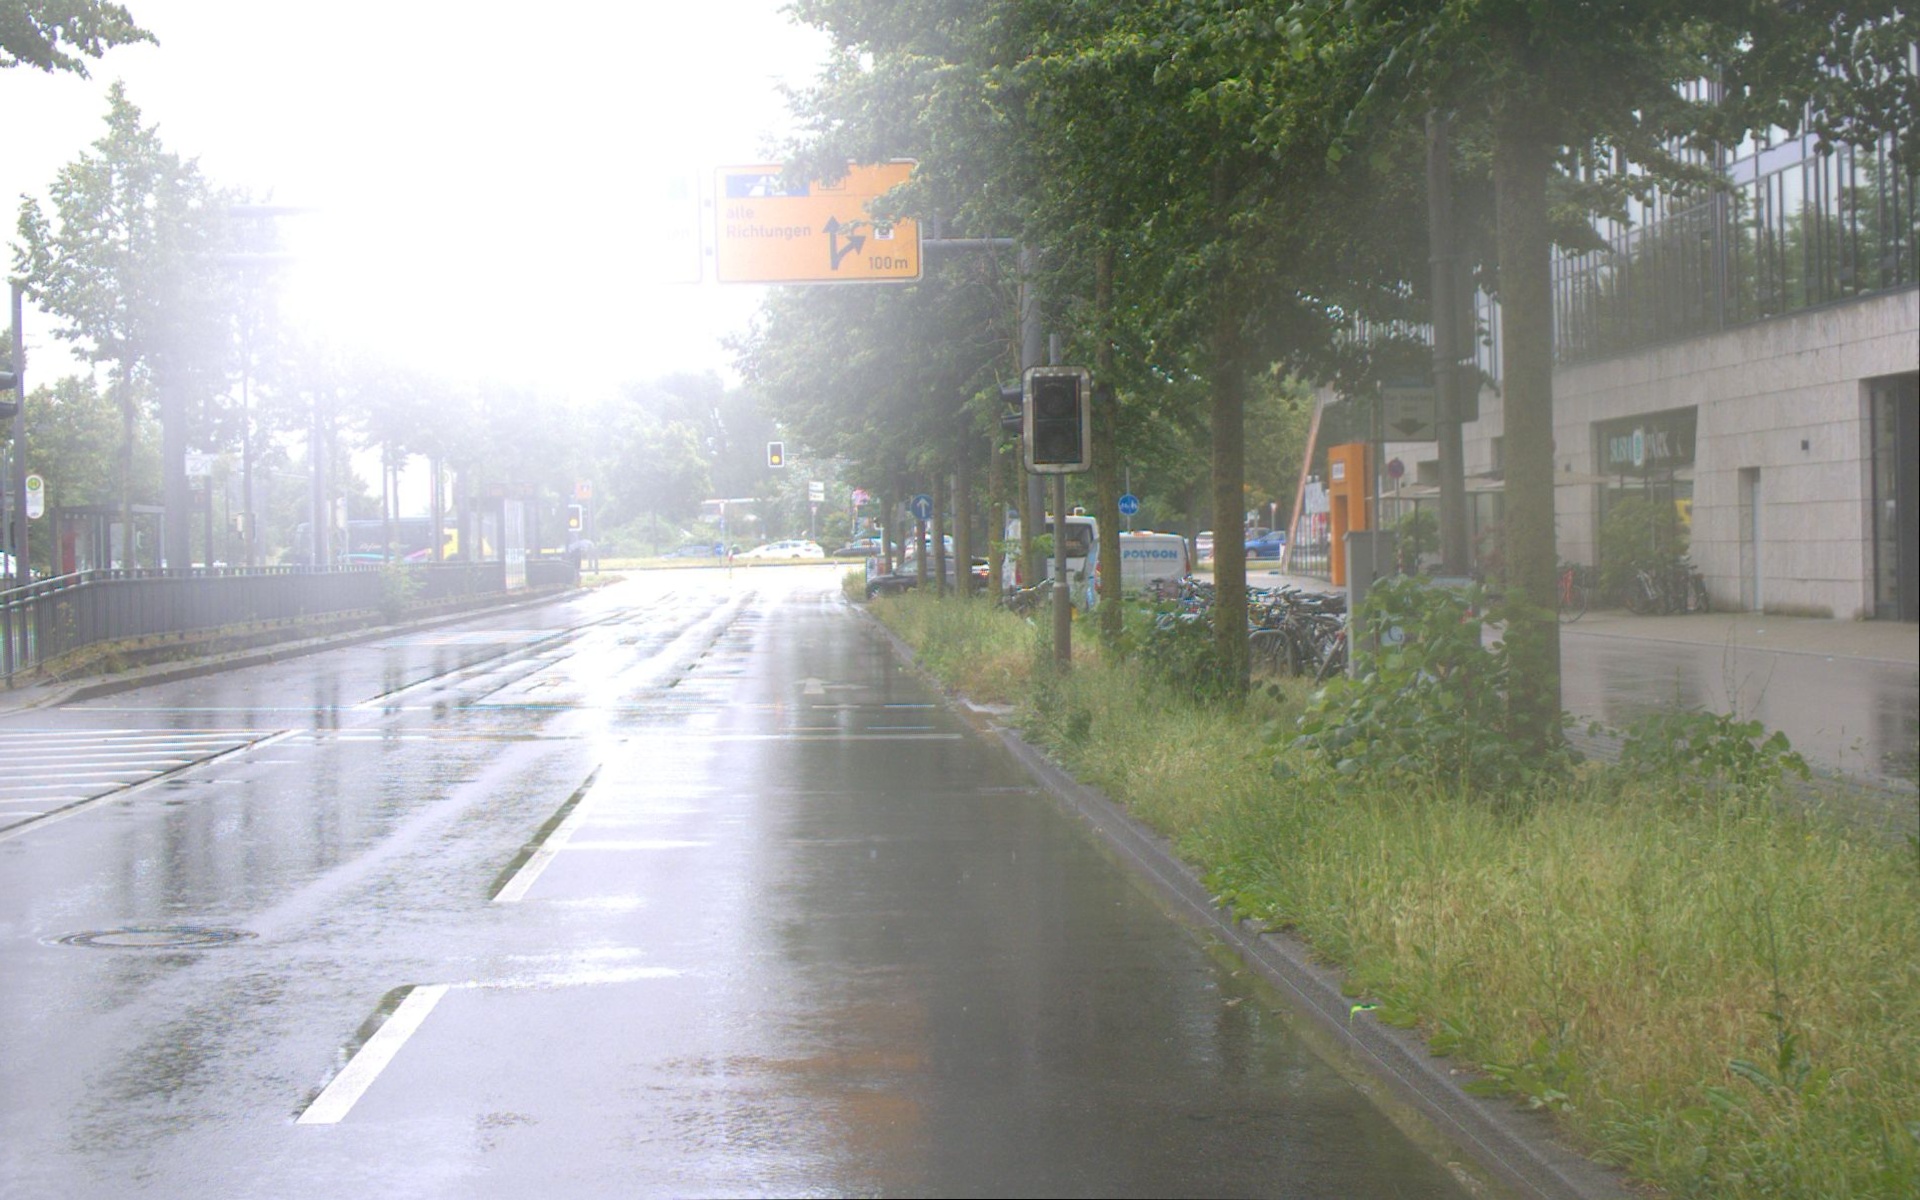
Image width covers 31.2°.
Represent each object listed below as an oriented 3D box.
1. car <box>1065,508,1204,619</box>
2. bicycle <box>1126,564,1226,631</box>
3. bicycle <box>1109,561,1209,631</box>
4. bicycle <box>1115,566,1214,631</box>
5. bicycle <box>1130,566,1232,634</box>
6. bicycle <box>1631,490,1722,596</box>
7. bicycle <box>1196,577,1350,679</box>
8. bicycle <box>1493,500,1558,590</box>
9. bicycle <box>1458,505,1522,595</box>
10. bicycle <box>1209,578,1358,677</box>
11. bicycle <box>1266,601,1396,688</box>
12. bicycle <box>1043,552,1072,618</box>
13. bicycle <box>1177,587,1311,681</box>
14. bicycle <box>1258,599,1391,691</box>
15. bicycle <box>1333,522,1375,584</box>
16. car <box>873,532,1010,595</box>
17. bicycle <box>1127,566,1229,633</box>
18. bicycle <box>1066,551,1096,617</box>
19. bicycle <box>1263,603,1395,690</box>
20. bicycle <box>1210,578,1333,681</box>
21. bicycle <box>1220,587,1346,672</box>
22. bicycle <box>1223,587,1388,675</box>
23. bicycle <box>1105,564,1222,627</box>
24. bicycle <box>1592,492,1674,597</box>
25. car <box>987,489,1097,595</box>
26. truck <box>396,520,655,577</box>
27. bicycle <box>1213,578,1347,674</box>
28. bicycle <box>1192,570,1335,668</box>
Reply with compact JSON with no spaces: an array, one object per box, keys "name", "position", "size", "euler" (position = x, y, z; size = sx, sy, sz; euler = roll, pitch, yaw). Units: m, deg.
[{"name":"car","position":[2.983,-0.656,59.615],"size":[1.906,1.785,4.689],"euler":[-2,1,-3]},{"name":"bicycle","position":[2.870,-0.038,45.726],"size":[1.288,0.846,0.275],"euler":[-2,1,-3]},{"name":"bicycle","position":[2.721,-0.051,47.073],"size":[1.325,0.907,0.275],"euler":[-2,1,-3]},{"name":"bicycle","position":[2.763,-0.022,46.400],"size":[1.288,0.846,0.275],"euler":[-1,1,-3]},{"name":"bicycle","position":[2.894,-0.001,45.027],"size":[1.288,0.846,0.275],"euler":[-1,1,-3]},{"name":"bicycle","position":[12.662,-1.030,60.836],"size":[0.772,1.716,3.121],"euler":[-2,3,-3]},{"name":"bicycle","position":[3.586,0.319,39.326],"size":[1.705,1.099,0.283],"euler":[-2,1,-9]},{"name":"bicycle","position":[11.689,-1.165,71.108],"size":[0.644,1.716,3.121],"euler":[-2,3,-3]},{"name":"bicycle","position":[10.943,-1.051,71.063],"size":[0.644,1.716,3.121],"euler":[-2,3,-3]},{"name":"bicycle","position":[3.516,0.294,37.375],"size":[1.574,1.014,0.408],"euler":[-2,1,4]},{"name":"bicycle","position":[3.788,0.456,35.095],"size":[1.289,0.846,0.275],"euler":[-2,1,9]},{"name":"bicycle","position":[1.288,-0.209,45.471],"size":[0.274,0.846,1.293],"euler":[-2,1,-2]},{"name":"bicycle","position":[3.184,0.381,38.570],"size":[1.452,1.014,0.349],"euler":[-1,1,2]},{"name":"bicycle","position":[3.644,0.447,34.355],"size":[1.289,0.871,0.301],"euler":[-2,1,9]},{"name":"bicycle","position":[10.650,-1.278,93.016],"size":[0.666,1.529,2.765],"euler":[-2,3,-2]},{"name":"car","position":[-0.538,-1.024,95.016],"size":[1.815,1.539,4.000],"euler":[-4,4,-35]},{"name":"bicycle","position":[2.881,-0.007,45.394],"size":[1.288,0.846,0.355],"euler":[-1,1,-3]},{"name":"bicycle","position":[1.601,-0.218,45.549],"size":[0.274,0.846,1.293],"euler":[-2,1,-2]},{"name":"bicycle","position":[3.730,0.467,34.725],"size":[1.289,0.829,0.275],"euler":[-2,1,9]},{"name":"bicycle","position":[3.356,0.316,37.014],"size":[1.288,1.070,0.275],"euler":[-2,1,6]},{"name":"bicycle","position":[3.398,0.311,36.203],"size":[1.288,0.846,0.275],"euler":[-2,1,2]},{"name":"bicycle","position":[3.596,0.322,35.862],"size":[1.672,0.846,0.275],"euler":[-2,1,2]},{"name":"bicycle","position":[2.864,-0.060,48.386],"size":[1.595,0.846,0.311],"euler":[-1,1,-3]},{"name":"bicycle","position":[11.881,-1.006,60.772],"size":[0.644,1.716,3.121],"euler":[-2,3,-3]},{"name":"car","position":[1.825,-1.325,78.002],"size":[2.121,2.266,4.565],"euler":[-2,1,-3]},{"name":"truck","position":[-25.750,-3.069,203.914],"size":[14.854,3.136,3.524],"euler":[-1,1,-17]},{"name":"bicycle","position":[3.510,0.283,37.779],"size":[1.439,1.014,0.349],"euler":[-1,1,4]},{"name":"bicycle","position":[3.567,0.215,40.404],"size":[1.612,1.093,0.297],"euler":[-2,1,-5]}]
